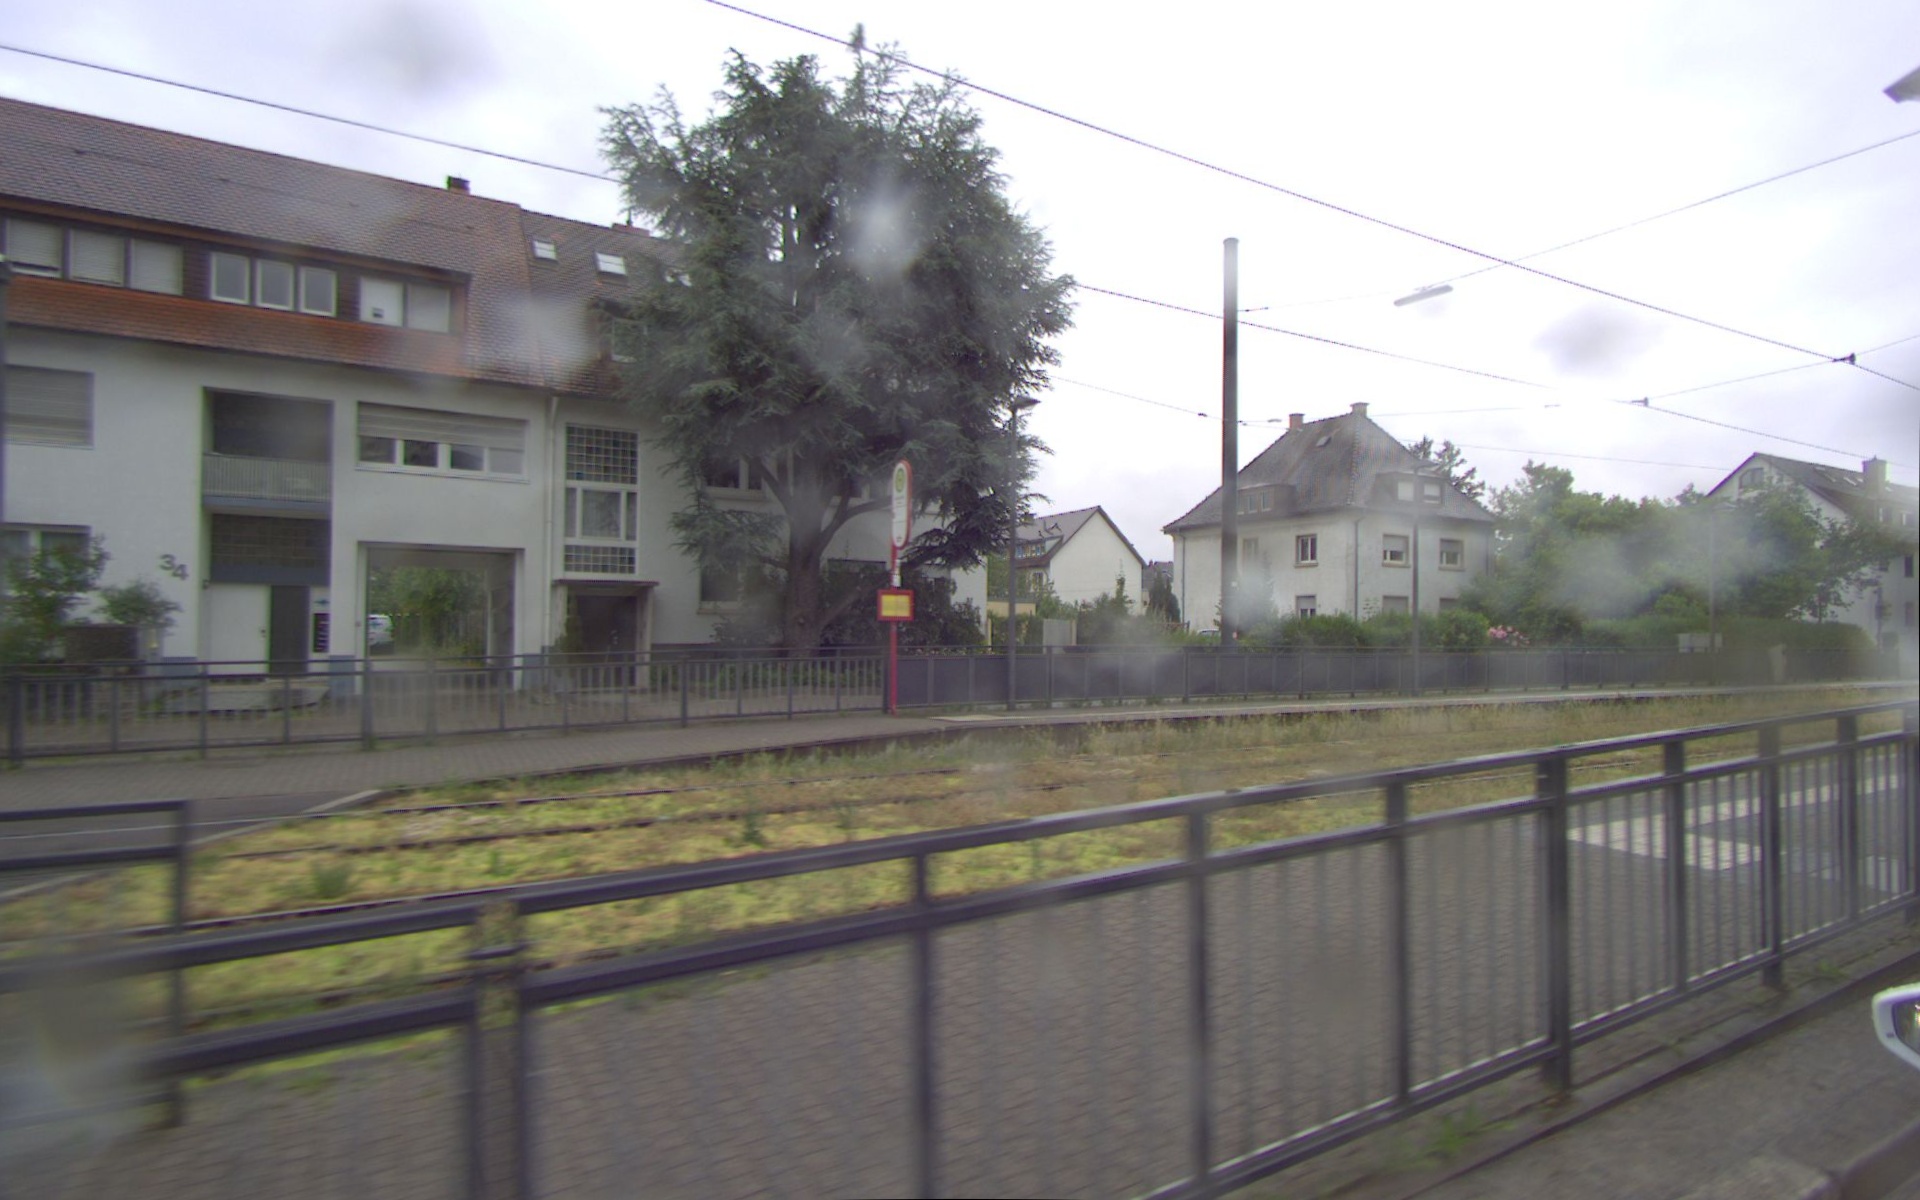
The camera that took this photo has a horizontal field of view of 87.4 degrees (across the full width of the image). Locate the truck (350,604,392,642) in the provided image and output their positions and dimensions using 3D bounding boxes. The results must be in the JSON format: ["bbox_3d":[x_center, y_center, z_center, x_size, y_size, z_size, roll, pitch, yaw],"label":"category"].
[{"bbox_3d":[-34.375,1.323,58.554,1.978,2.040,5.779,2,-1,-32],"label":"truck"}]

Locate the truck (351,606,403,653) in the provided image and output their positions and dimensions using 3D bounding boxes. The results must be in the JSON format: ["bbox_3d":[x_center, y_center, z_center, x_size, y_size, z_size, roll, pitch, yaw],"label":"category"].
[{"bbox_3d":[-28.203,1.388,48.476,1.978,2.040,5.779,2,-1,-32],"label":"truck"}]
